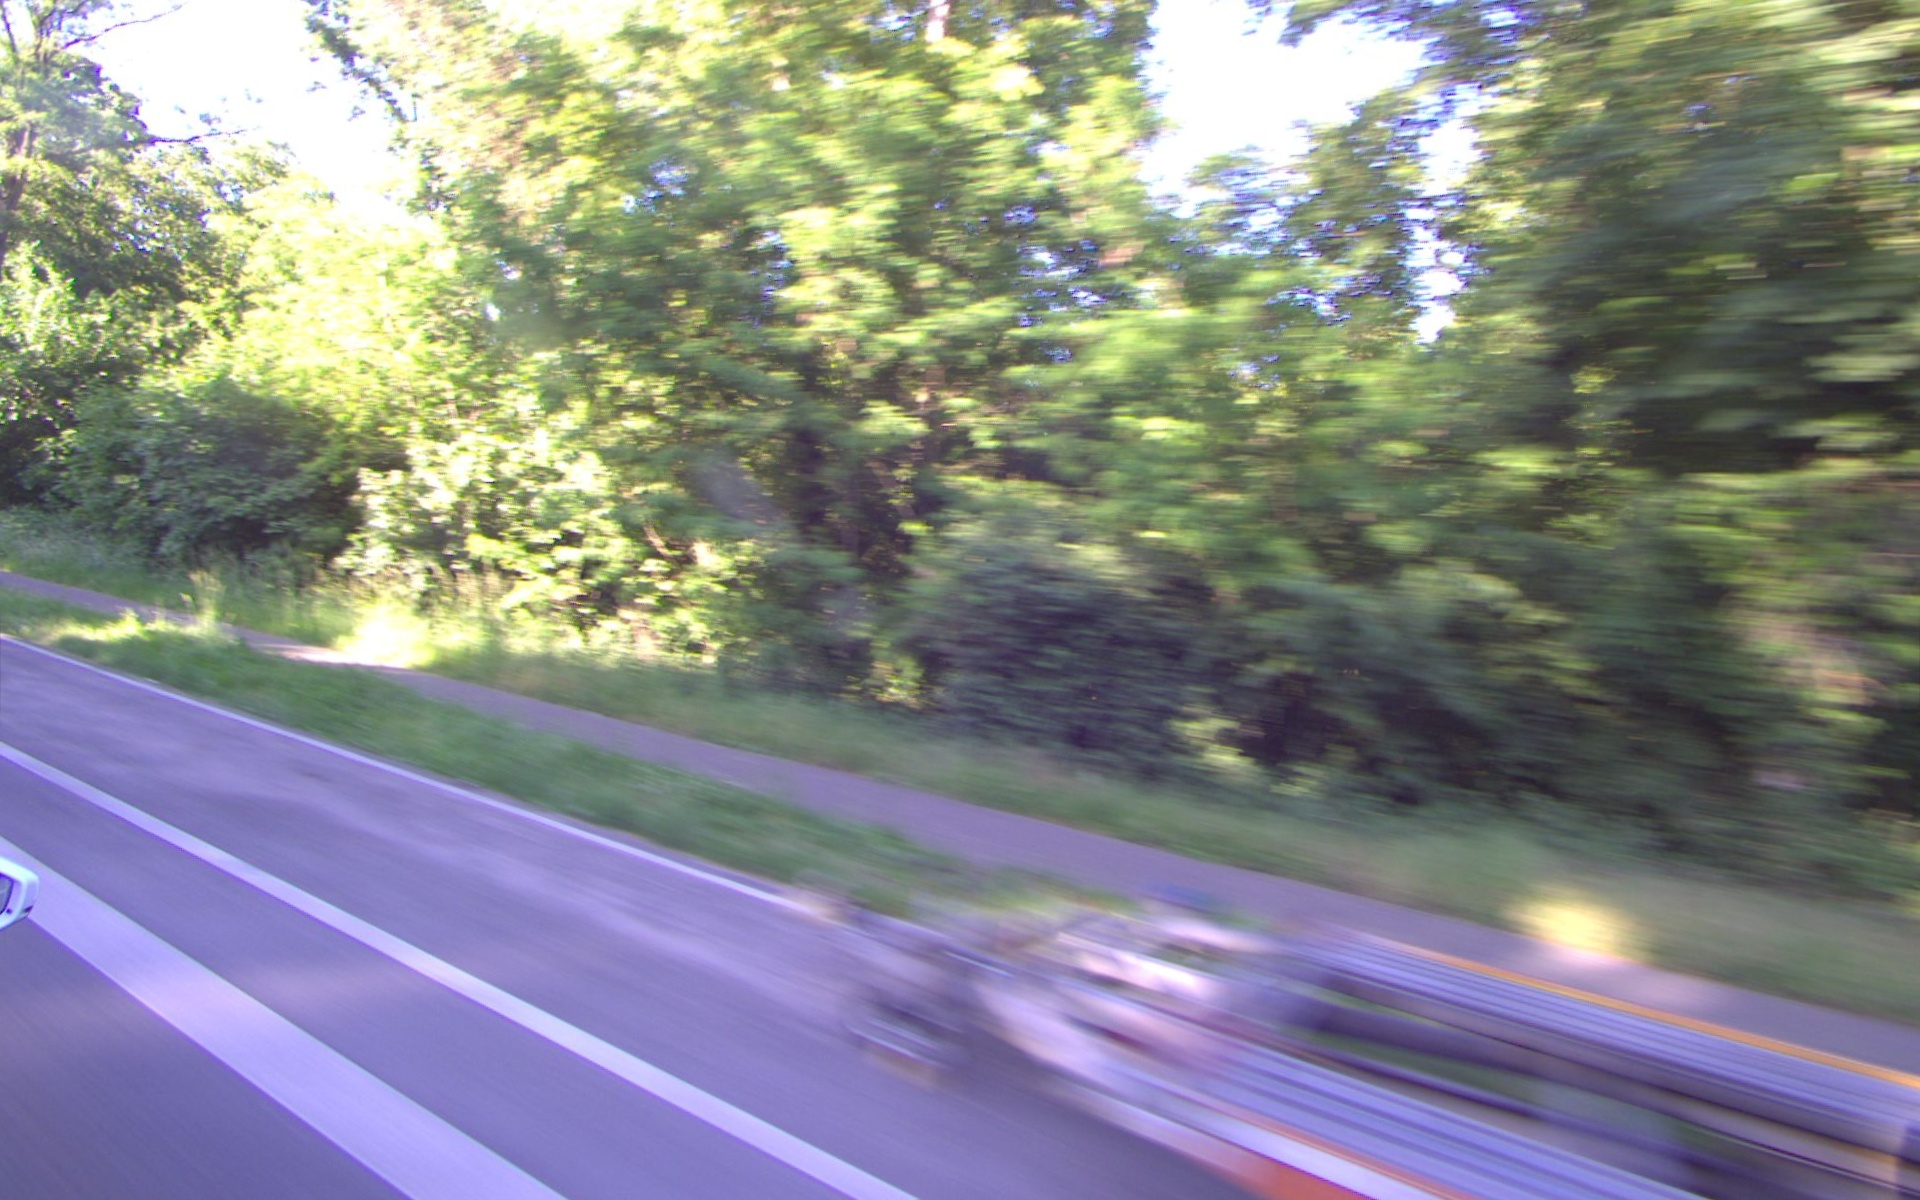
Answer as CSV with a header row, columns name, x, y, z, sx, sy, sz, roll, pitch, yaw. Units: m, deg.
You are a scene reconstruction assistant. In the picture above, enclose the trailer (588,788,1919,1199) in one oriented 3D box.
name,x,y,z,sx,sy,sz,roll,pitch,yaw
trailer,2.002,1.447,2.343,5.565,0.807,2.438,6,-2,31
